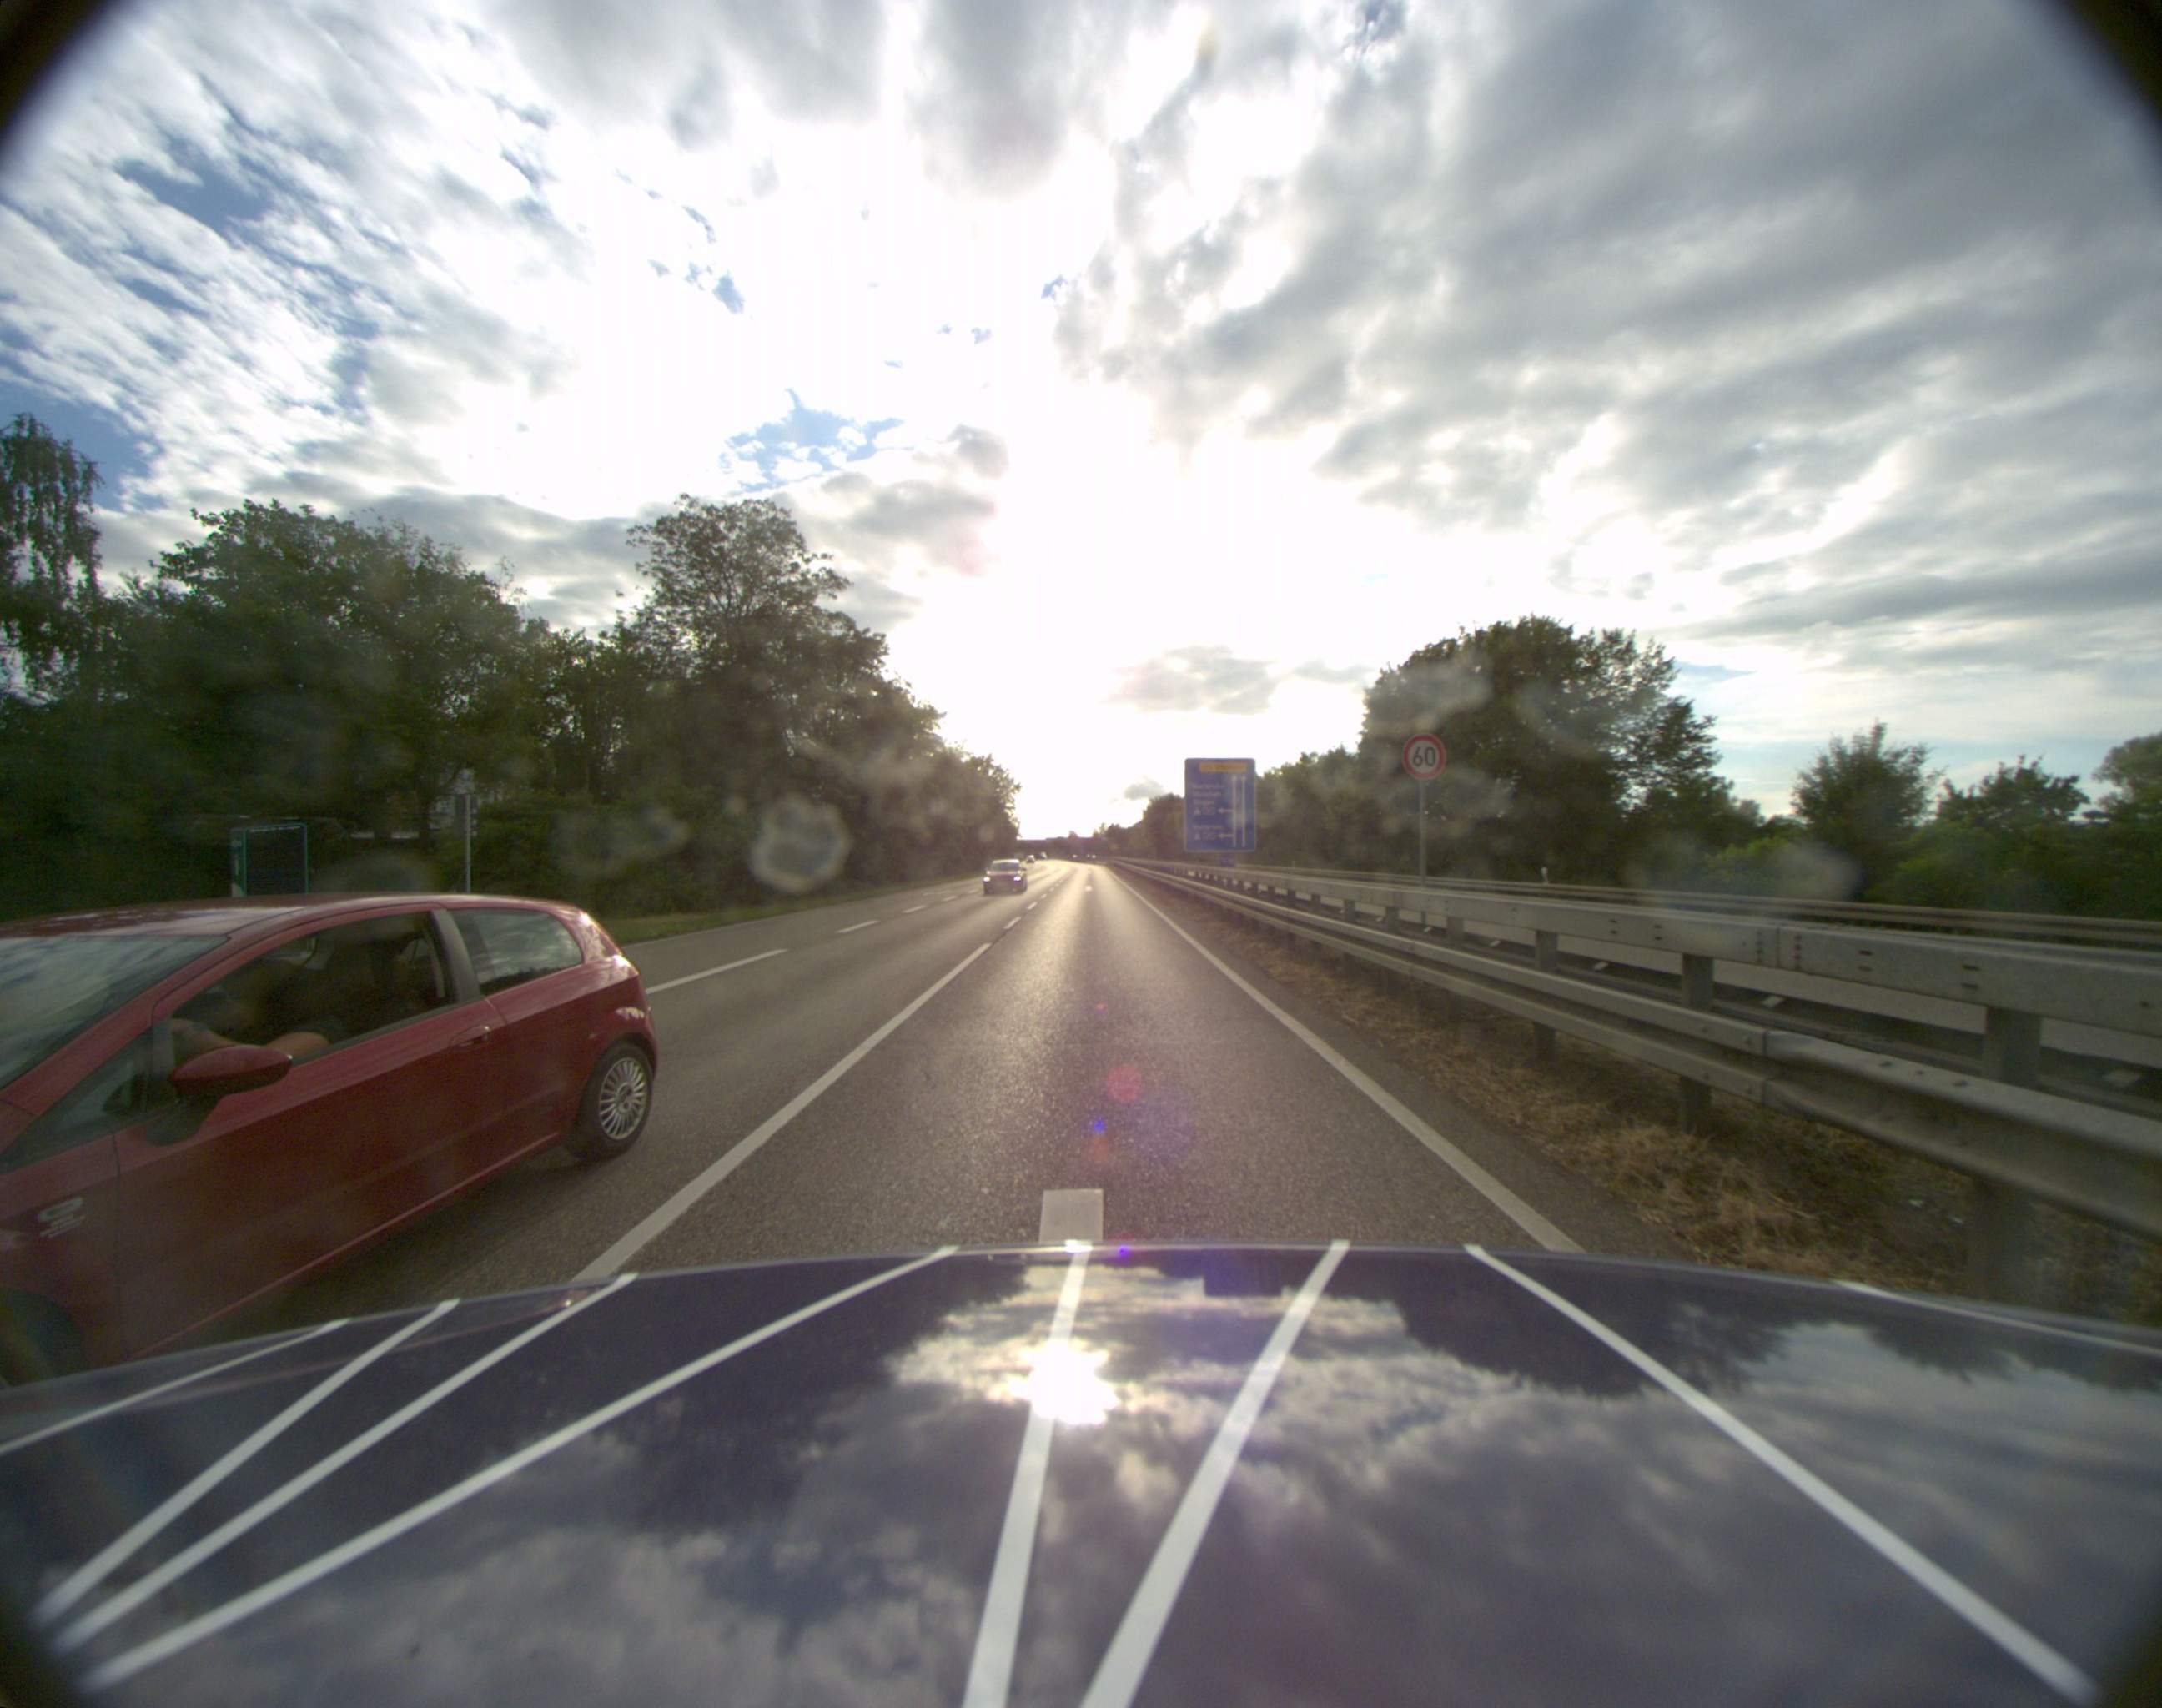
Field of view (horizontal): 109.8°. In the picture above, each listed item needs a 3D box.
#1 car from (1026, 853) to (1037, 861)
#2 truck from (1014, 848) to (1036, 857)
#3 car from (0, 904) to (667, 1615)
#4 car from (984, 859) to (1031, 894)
[{"bbox_3d":[-10.051,0.613,155.096,1.998,1.486,4.000,0,0,1],"label":"car"},{"bbox_3d":[-18.837,-0.588,255.520,7.163,2.668,2.989,-2,1,-2],"label":"truck"},{"bbox_3d":[-3.303,1.035,2.483,1.667,1.424,3.994,-2,0,0],"label":"car"},{"bbox_3d":[-3.248,0.962,34.419,1.700,1.407,3.999,-2,0,0],"label":"car"}]
